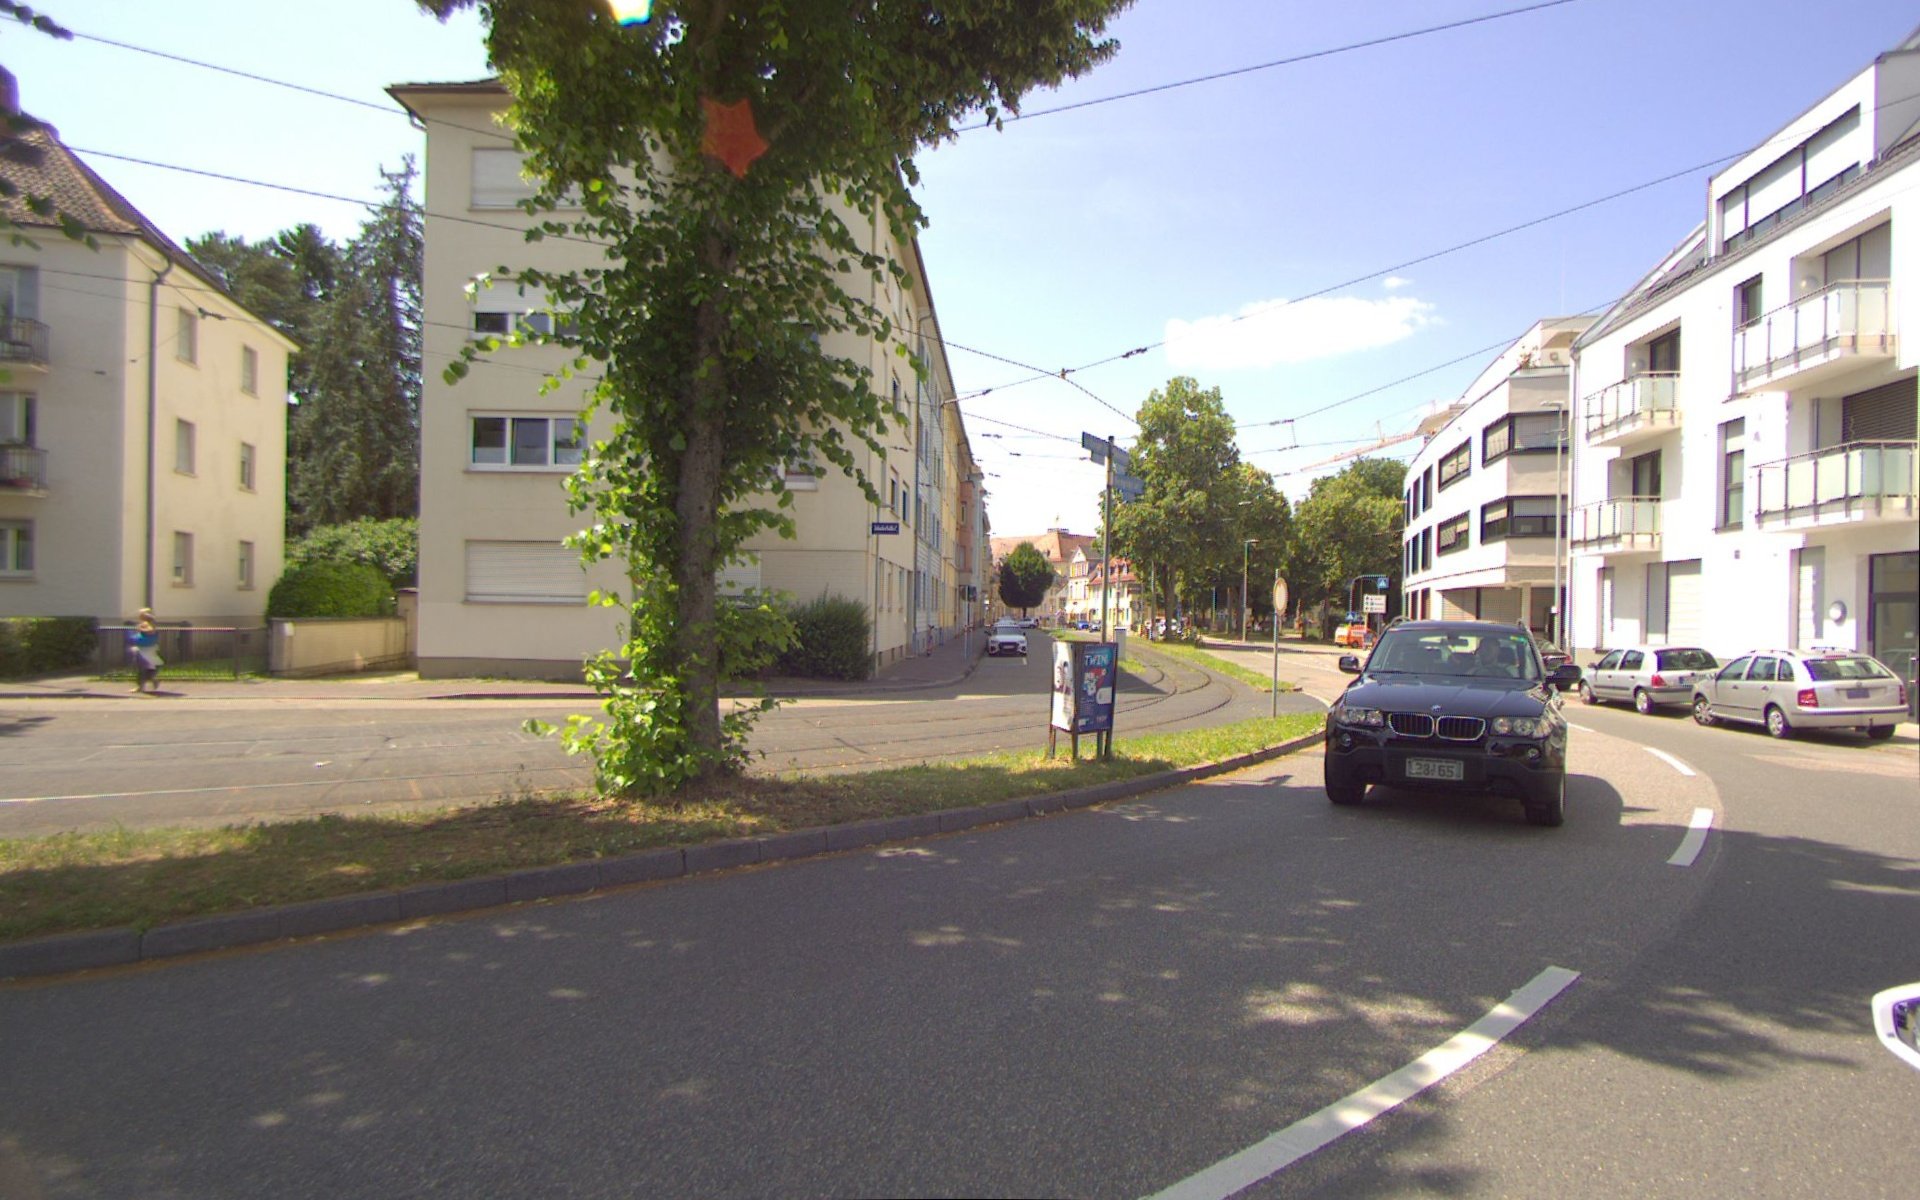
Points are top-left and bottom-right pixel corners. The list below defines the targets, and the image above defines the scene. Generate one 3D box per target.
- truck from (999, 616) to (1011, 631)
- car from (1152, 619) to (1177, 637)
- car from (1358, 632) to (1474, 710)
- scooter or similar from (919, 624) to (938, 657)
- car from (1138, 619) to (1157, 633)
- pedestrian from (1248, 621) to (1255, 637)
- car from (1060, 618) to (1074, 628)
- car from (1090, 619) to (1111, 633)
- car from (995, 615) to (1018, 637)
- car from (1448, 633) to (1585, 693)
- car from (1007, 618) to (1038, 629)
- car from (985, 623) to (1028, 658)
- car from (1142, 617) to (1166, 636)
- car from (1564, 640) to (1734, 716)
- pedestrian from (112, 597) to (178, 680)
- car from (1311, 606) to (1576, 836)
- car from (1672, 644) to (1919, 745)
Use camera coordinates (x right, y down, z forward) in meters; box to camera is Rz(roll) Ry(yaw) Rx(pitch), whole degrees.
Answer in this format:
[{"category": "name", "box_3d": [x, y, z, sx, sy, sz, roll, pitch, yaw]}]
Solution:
[{"category": "truck", "box_3d": [4.385, 2.298, 98.506, 1.107, 1.514, 2.595, 0, -1, 2]}, {"category": "car", "box_3d": [21.557, 2.933, 106.055, 1.960, 1.850, 4.424, 2, 0, 3]}, {"category": "car", "box_3d": [9.743, 1.466, 21.719, 1.743, 1.483, 3.749, 1, -2, 16]}, {"category": "scooter or similar", "box_3d": [-1.297, 1.672, 41.580, 0.627, 1.240, 1.321, 2, 3, 4]}, {"category": "car", "box_3d": [22.734, 3.131, 121.995, 1.753, 1.645, 4.487, 2, 0, 4]}, {"category": "pedestrian", "box_3d": [34.624, 3.452, 119.207, 0.735, 1.936, 0.684, 2, 1, 18]}, {"category": "car", "box_3d": [18.279, 3.956, 171.973, 1.831, 1.506, 3.998, 2, -1, -3]}, {"category": "car", "box_3d": [17.011, 3.180, 121.706, 1.872, 1.554, 4.244, 2, -1, 1]}, {"category": "car", "box_3d": [3.660, 2.017, 78.986, 1.805, 1.708, 4.144, -1, -1, 3]}, {"category": "car", "box_3d": [15.918, 1.752, 29.019, 1.769, 1.529, 4.551, -2, -2, 6]}, {"category": "car", "box_3d": [8.667, 3.233, 139.472, 4.133, 1.525, 2.004, 0, -1, -1]}, {"category": "car", "box_3d": [2.167, 1.894, 47.849, 1.895, 1.471, 4.377, -1, -1, 1]}, {"category": "car", "box_3d": [22.131, 2.966, 114.631, 2.014, 2.029, 5.251, 2, 0, 4]}, {"category": "car", "box_3d": [15.211, 1.681, 22.422, 1.565, 1.452, 3.709, -3, -2, 8]}, {"category": "pedestrian", "box_3d": [-15.821, 0.731, 19.522, 0.732, 1.580, 0.774, 1, 0, -18]}, {"category": "car", "box_3d": [4.693, 0.966, 9.580, 1.829, 1.653, 4.322, 0, -2, 29]}, {"category": "car", "box_3d": [14.532, 1.578, 17.698, 1.697, 1.452, 4.045, -3, -2, 12]}]
